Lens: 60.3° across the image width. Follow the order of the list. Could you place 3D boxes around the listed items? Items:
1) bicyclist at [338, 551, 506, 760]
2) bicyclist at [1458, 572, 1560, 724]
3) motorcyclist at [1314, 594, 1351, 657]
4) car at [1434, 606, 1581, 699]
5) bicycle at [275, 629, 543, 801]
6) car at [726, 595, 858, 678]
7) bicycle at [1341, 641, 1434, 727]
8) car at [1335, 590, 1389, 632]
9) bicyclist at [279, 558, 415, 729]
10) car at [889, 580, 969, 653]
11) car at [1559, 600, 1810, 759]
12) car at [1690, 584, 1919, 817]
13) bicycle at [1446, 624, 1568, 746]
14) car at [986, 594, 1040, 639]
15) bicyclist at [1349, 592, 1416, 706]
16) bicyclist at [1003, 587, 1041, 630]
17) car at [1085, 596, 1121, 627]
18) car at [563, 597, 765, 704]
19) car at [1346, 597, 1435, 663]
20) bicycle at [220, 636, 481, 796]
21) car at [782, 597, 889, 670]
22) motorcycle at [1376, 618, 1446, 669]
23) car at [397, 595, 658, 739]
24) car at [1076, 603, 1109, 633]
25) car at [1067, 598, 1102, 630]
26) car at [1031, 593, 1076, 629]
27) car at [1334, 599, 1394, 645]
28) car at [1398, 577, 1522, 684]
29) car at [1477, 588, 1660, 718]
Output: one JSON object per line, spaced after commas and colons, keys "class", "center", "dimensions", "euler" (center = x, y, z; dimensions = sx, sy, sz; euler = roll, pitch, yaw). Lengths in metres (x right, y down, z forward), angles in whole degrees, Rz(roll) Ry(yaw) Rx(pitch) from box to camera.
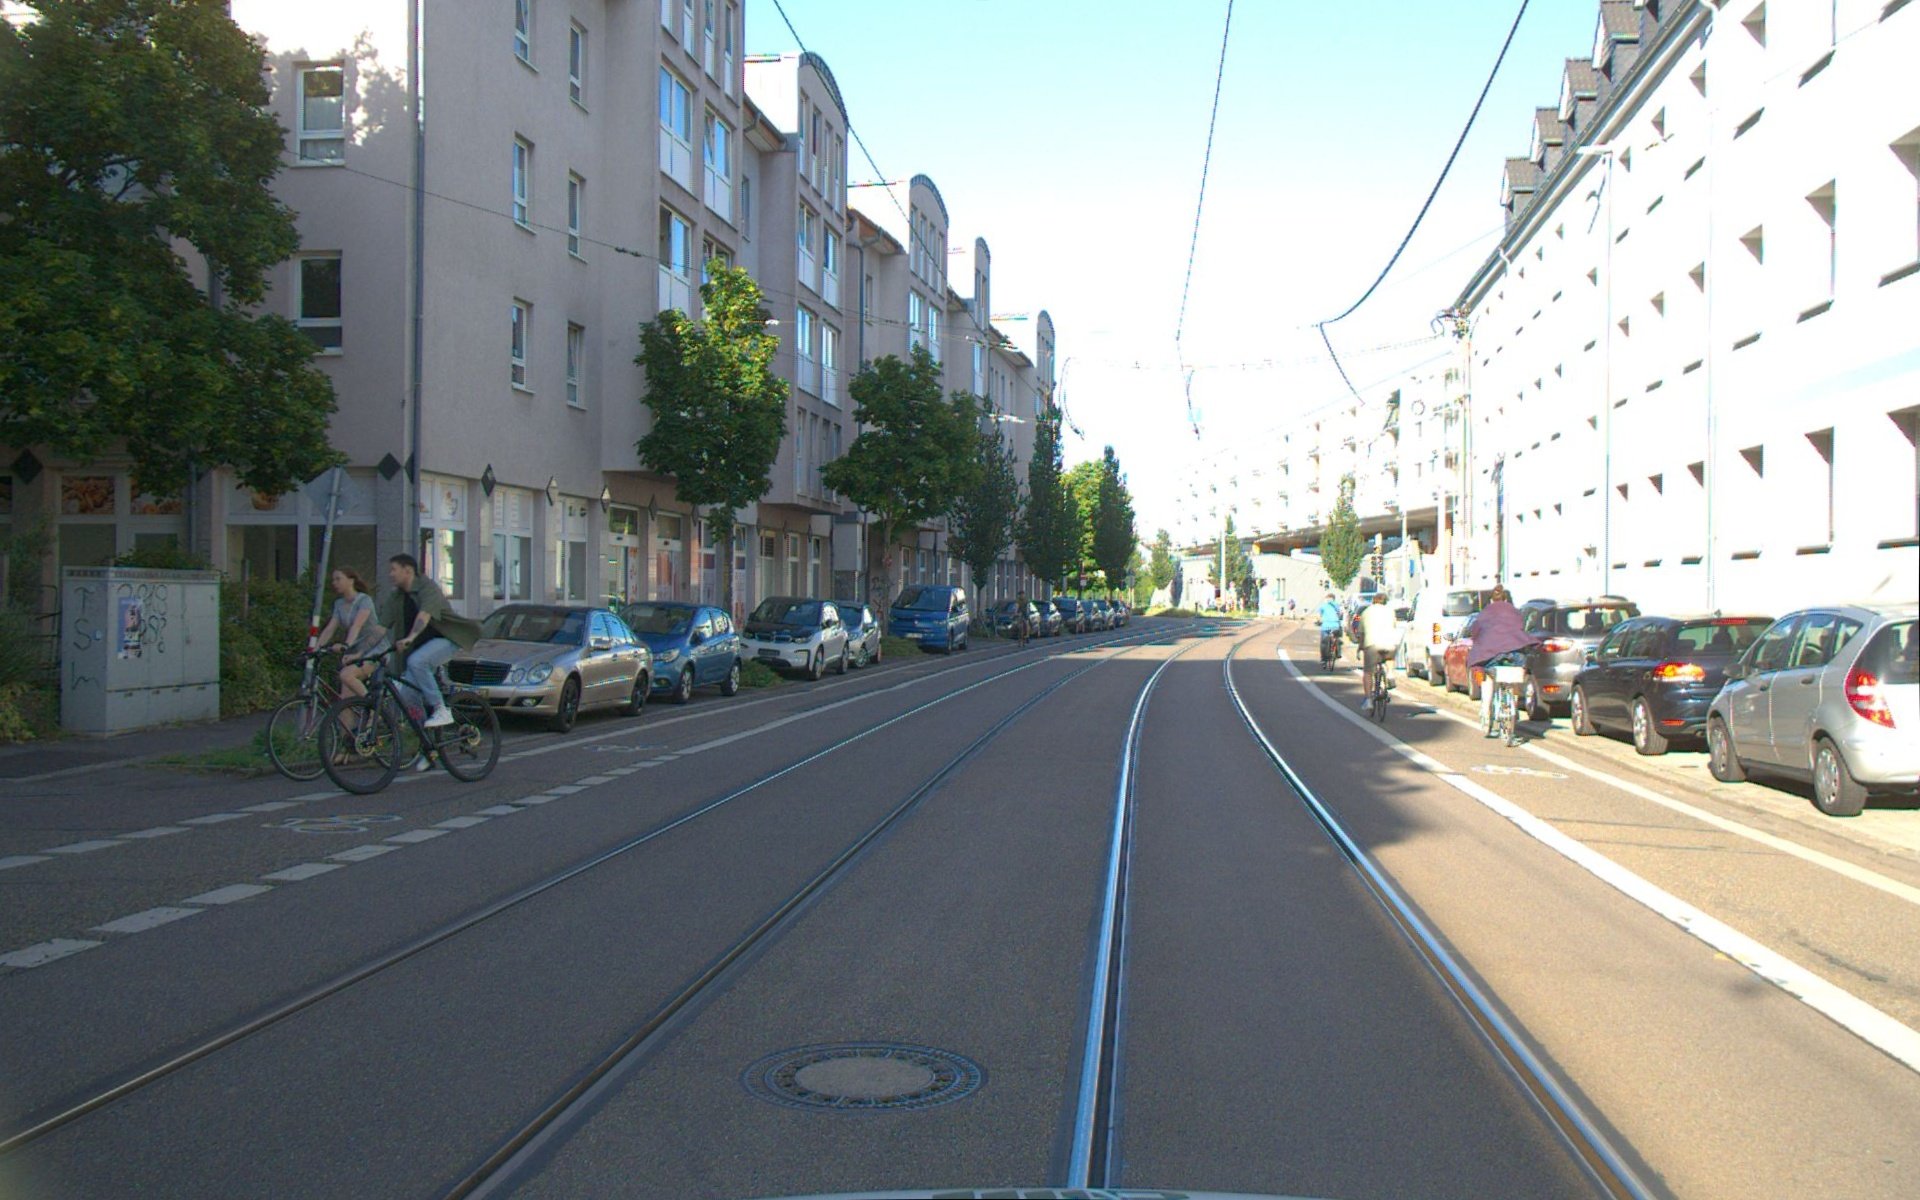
{"class": "bicyclist", "center": [-4.299, 0.434, 13.251], "dimensions": [0.863, 1.588, 0.868], "euler": [-3, 0, 19]}
{"class": "bicyclist", "center": [6.311, 0.537, 19.060], "dimensions": [0.914, 1.705, 0.970], "euler": [0, 0, 6]}
{"class": "motorcyclist", "center": [8.523, 0.573, 37.841], "dimensions": [0.712, 1.430, 1.021], "euler": [0, 0, 6]}
{"class": "car", "center": [9.499, 0.889, 28.950], "dimensions": [1.757, 1.509, 3.781], "euler": [0, -1, 7]}
{"class": "bicycle", "center": [-4.304, 0.861, 13.141], "dimensions": [0.821, 1.169, 2.234], "euler": [-2, 0, 18]}
{"class": "car", "center": [-3.422, 0.711, 34.455], "dimensions": [1.790, 1.621, 4.003], "euler": [0, 0, 9]}
{"class": "bicycle", "center": [5.621, 1.072, 21.904], "dimensions": [0.723, 0.941, 2.838], "euler": [3, 0, 6]}
{"class": "car", "center": [17.698, 0.470, 72.960], "dimensions": [1.805, 1.787, 4.552], "euler": [0, 0, 7]}
{"class": "bicyclist", "center": [-5.315, 0.362, 14.371], "dimensions": [0.610, 1.404, 0.868], "euler": [-4, -1, 20]}
{"class": "car", "center": [-0.866, 0.449, 48.402], "dimensions": [1.629, 2.021, 4.346], "euler": [0, 0, 8]}
{"class": "car", "center": [8.097, 0.819, 18.842], "dimensions": [1.557, 1.564, 4.010], "euler": [-2, 0, 8]}
{"class": "car", "center": [7.619, 0.712, 13.786], "dimensions": [1.717, 1.598, 3.907], "euler": [-3, 0, 8]}
{"class": "bicycle", "center": [6.299, 0.938, 19.186], "dimensions": [0.803, 1.258, 2.464], "euler": [2, 0, 6]}
{"class": "car", "center": [2.071, 0.605, 63.678], "dimensions": [1.629, 1.646, 4.003], "euler": [0, 0, 8]}
{"class": "bicyclist", "center": [5.654, 0.644, 22.173], "dimensions": [0.712, 1.487, 1.021], "euler": [0, 0, 6]}
{"class": "bicyclist", "center": [1.969, 0.261, 52.435], "dimensions": [1.158, 1.354, 1.096], "euler": [0, 0, 5]}
{"class": "car", "center": [7.942, 0.638, 91.550], "dimensions": [1.805, 1.674, 3.700], "euler": [0, 0, 7]}
{"class": "car", "center": [-4.602, 0.745, 26.293], "dimensions": [1.790, 1.515, 4.004], "euler": [-2, 0, 11]}
{"class": "car", "center": [11.642, 0.770, 44.967], "dimensions": [1.805, 1.674, 4.552], "euler": [0, 0, 7]}
{"class": "bicycle", "center": [-5.234, 0.966, 14.397], "dimensions": [0.822, 1.169, 2.233], "euler": [-4, 0, 20]}
{"class": "car", "center": [-2.873, 0.741, 38.922], "dimensions": [1.791, 1.621, 4.003], "euler": [0, 0, 6]}
{"class": "motorcycle", "center": [10.672, 1.011, 39.193], "dimensions": [0.486, 1.164, 1.751], "euler": [0, 0, -32]}
{"class": "car", "center": [-5.200, 0.737, 20.453], "dimensions": [1.707, 1.467, 4.003], "euler": [4, 1, 6]}
{"class": "car", "center": [6.957, 0.930, 86.618], "dimensions": [1.557, 1.567, 3.193], "euler": [0, 0, 7]}
{"class": "car", "center": [6.180, 0.666, 81.984], "dimensions": [1.557, 1.567, 3.193], "euler": [0, 0, 7]}
{"class": "car", "center": [4.439, 0.503, 78.204], "dimensions": [1.805, 1.674, 4.552], "euler": [0, 0, 7]}
{"class": "car", "center": [15.316, 0.800, 62.856], "dimensions": [1.805, 1.674, 3.968], "euler": [0, 0, 7]}
{"class": "car", "center": [10.140, 0.578, 33.801], "dimensions": [1.748, 2.005, 4.158], "euler": [-1, 0, 8]}
{"class": "car", "center": [8.715, 0.707, 23.997], "dimensions": [1.625, 1.699, 3.907], "euler": [-2, 0, 7]}
